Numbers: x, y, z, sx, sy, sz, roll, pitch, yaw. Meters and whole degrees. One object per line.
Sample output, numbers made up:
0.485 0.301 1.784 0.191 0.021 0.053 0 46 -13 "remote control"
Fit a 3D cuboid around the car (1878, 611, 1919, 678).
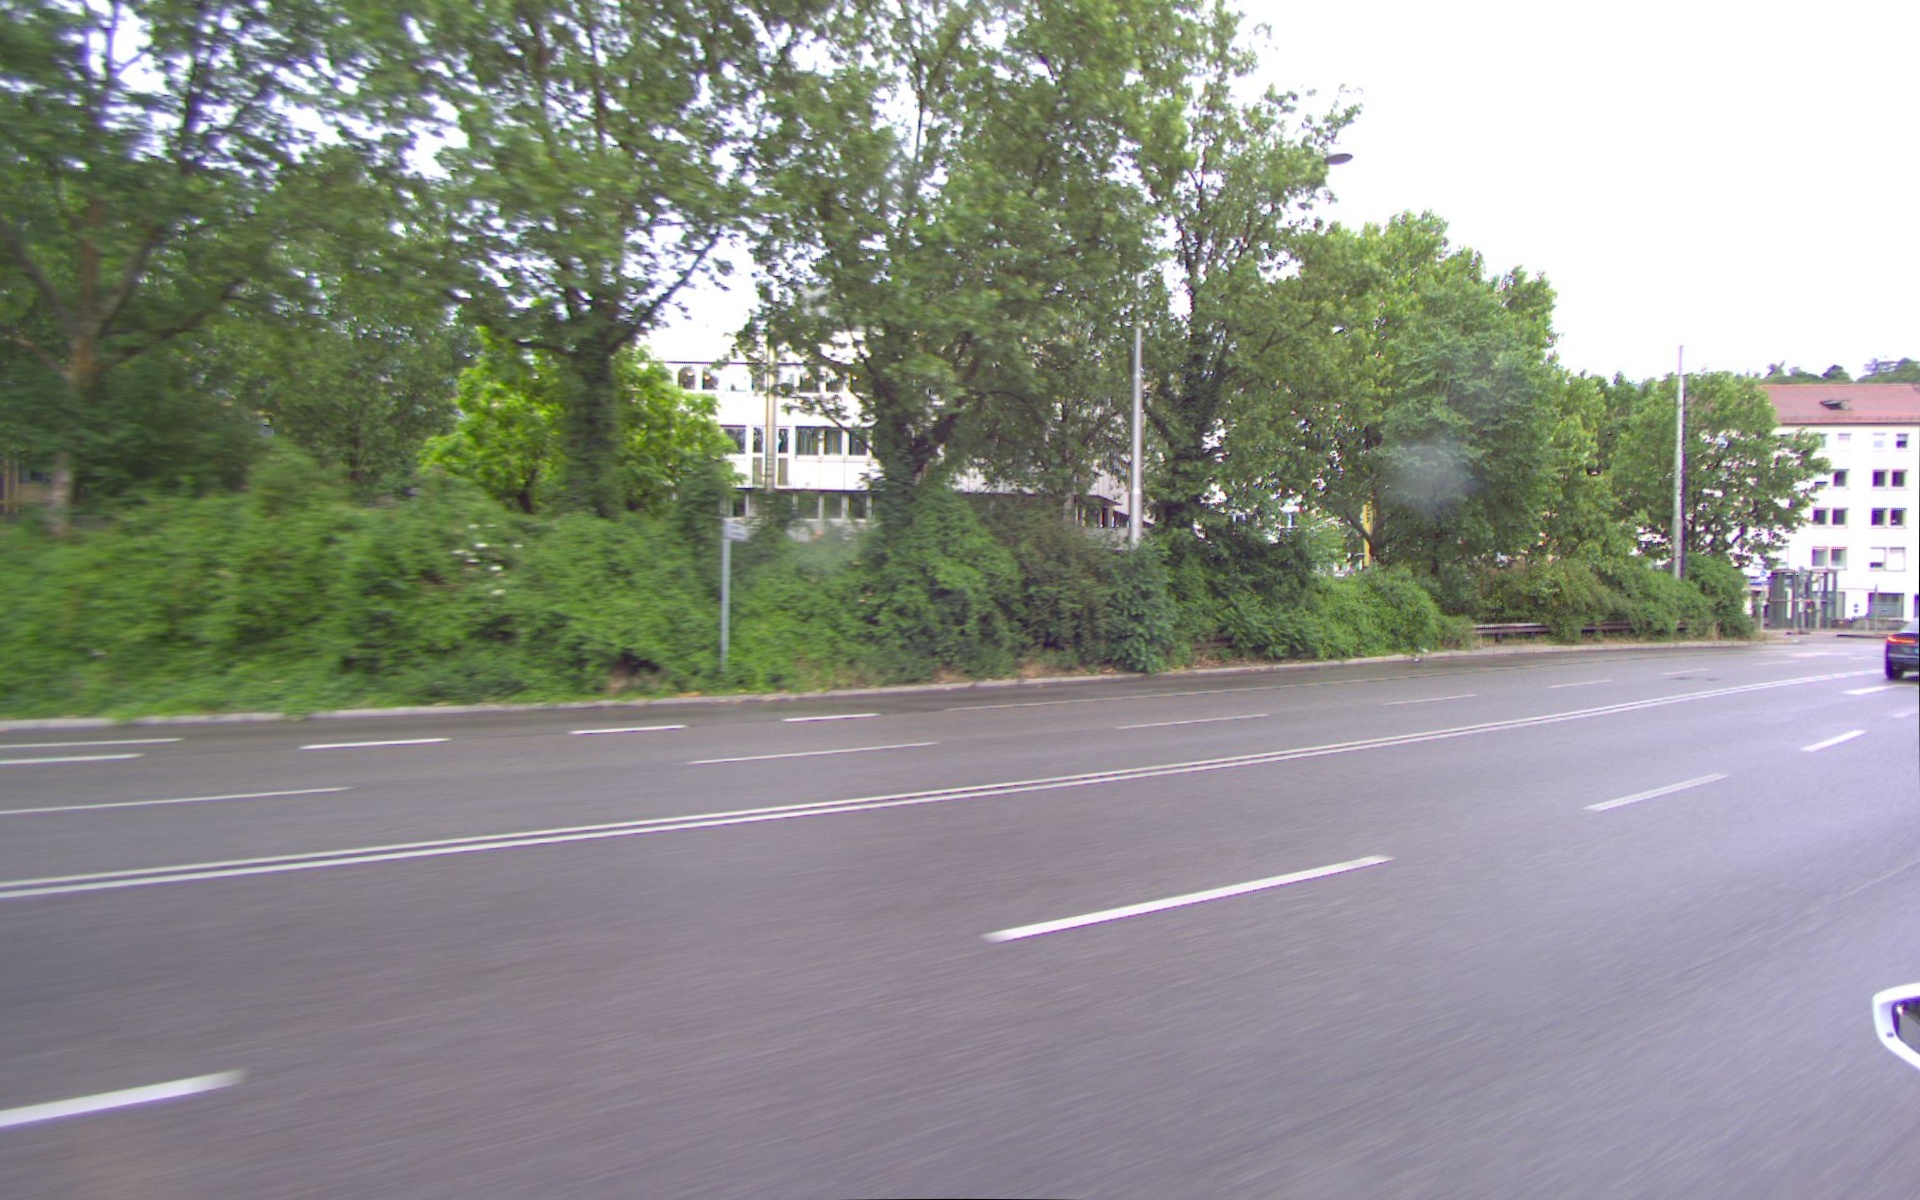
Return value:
22.600 1.014 22.848 4.344 1.445 1.778 2 -1 -37 "car"
